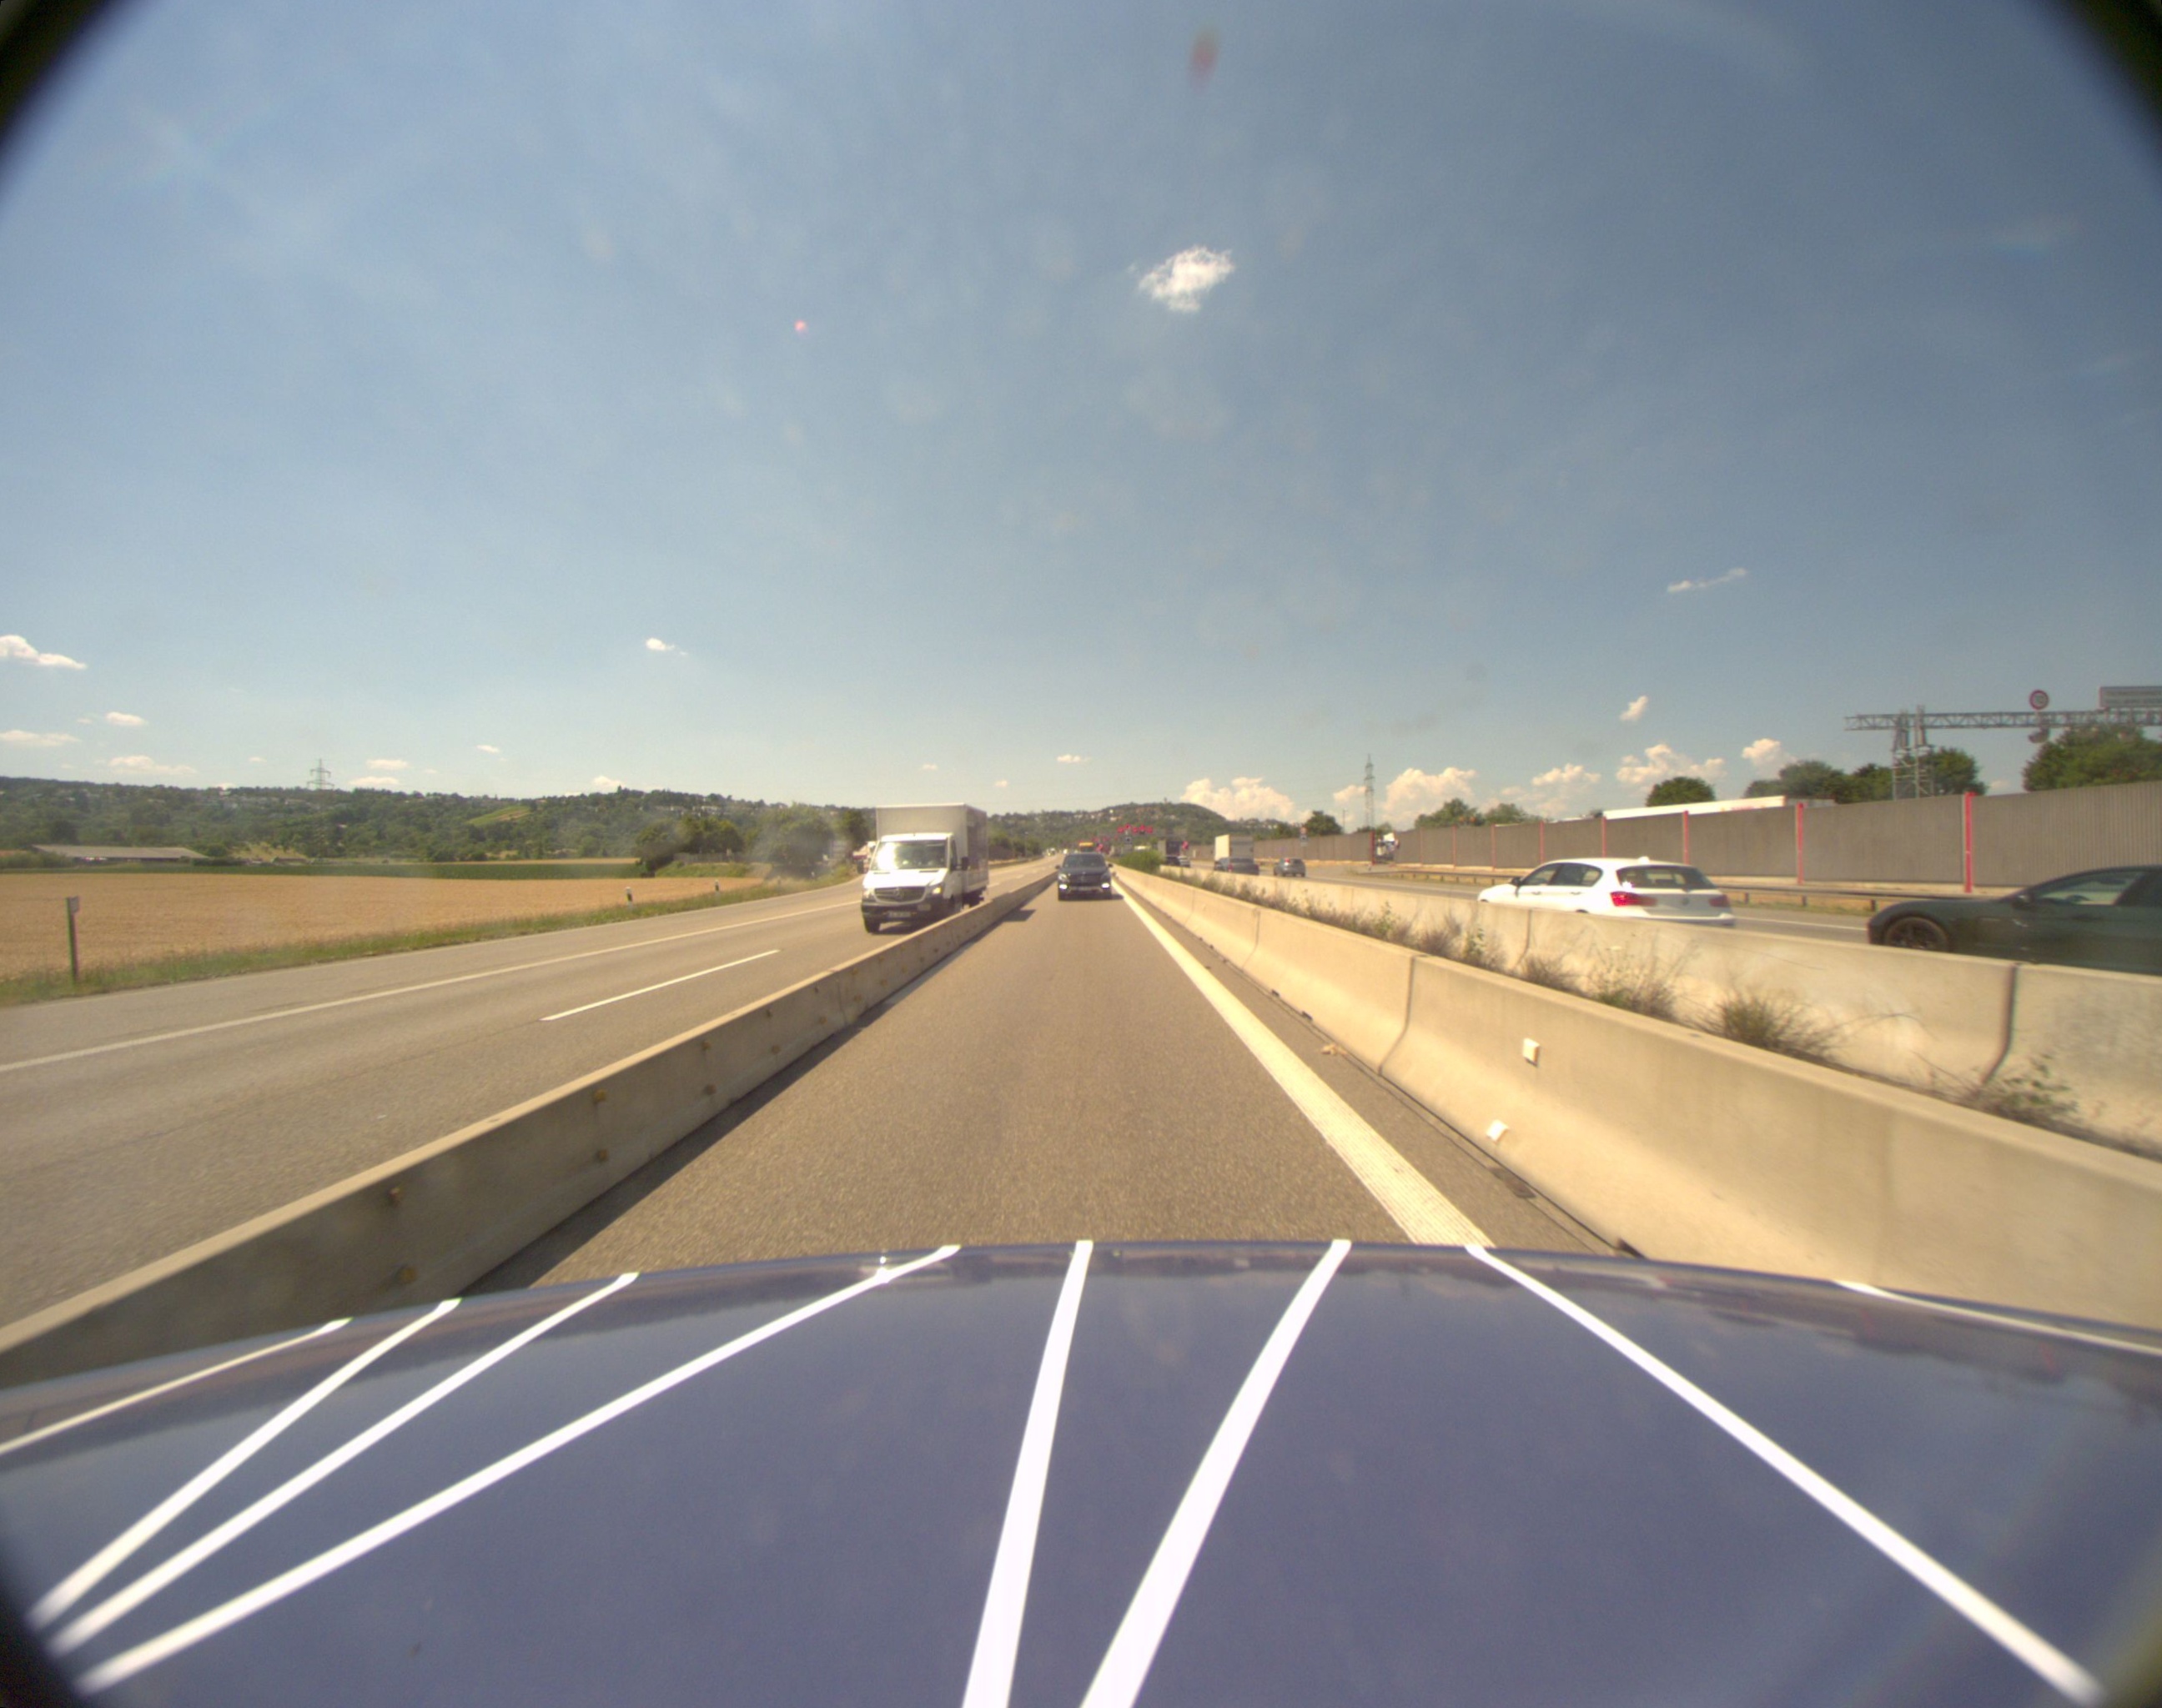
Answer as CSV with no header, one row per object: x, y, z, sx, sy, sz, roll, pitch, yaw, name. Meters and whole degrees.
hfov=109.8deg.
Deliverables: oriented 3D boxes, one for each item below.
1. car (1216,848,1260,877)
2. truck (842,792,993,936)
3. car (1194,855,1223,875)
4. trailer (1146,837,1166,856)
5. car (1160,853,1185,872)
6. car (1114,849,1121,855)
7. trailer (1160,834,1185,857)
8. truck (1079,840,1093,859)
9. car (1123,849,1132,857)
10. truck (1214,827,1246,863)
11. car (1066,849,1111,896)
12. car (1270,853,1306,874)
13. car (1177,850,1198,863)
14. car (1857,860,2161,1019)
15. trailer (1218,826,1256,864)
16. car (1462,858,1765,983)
8.780,0.439,42.780,1.659,1.510,4.000,-2,1,1,car
-3.936,0.256,19.865,2.326,3.049,6.751,-2,-1,1,truck
11.705,0.979,69.881,1.998,1.749,4.000,-1,0,1,car
17.393,-1.748,176.847,3.264,4.033,14.388,-2,1,1,trailer
8.935,0.807,74.491,1.998,1.749,4.644,-1,0,1,car
9.294,-0.487,193.637,1.515,1.530,3.183,-2,1,1,car
17.256,-1.555,144.092,2.991,4.043,15.162,-2,1,1,trailer
0.865,-0.901,134.058,2.272,3.139,8.186,-2,1,1,truck
9.763,-0.284,160.063,1.654,1.694,3.741,-2,1,1,car
16.288,-0.948,83.397,2.647,3.851,4.725,0,1,0,truck
0.310,0.722,30.653,1.631,1.711,3.865,-3,-1,1,car
16.016,0.715,58.926,1.659,1.510,4.000,-2,1,1,car
13.409,0.291,95.819,1.795,1.422,5.104,-2,1,0,car
11.256,0.835,7.651,1.816,1.477,4.962,0,0,0,car
16.244,-0.914,79.326,2.654,3.851,6.616,0,1,1,trailer
8.006,0.868,12.064,1.679,1.510,4.507,-2,1,1,car
